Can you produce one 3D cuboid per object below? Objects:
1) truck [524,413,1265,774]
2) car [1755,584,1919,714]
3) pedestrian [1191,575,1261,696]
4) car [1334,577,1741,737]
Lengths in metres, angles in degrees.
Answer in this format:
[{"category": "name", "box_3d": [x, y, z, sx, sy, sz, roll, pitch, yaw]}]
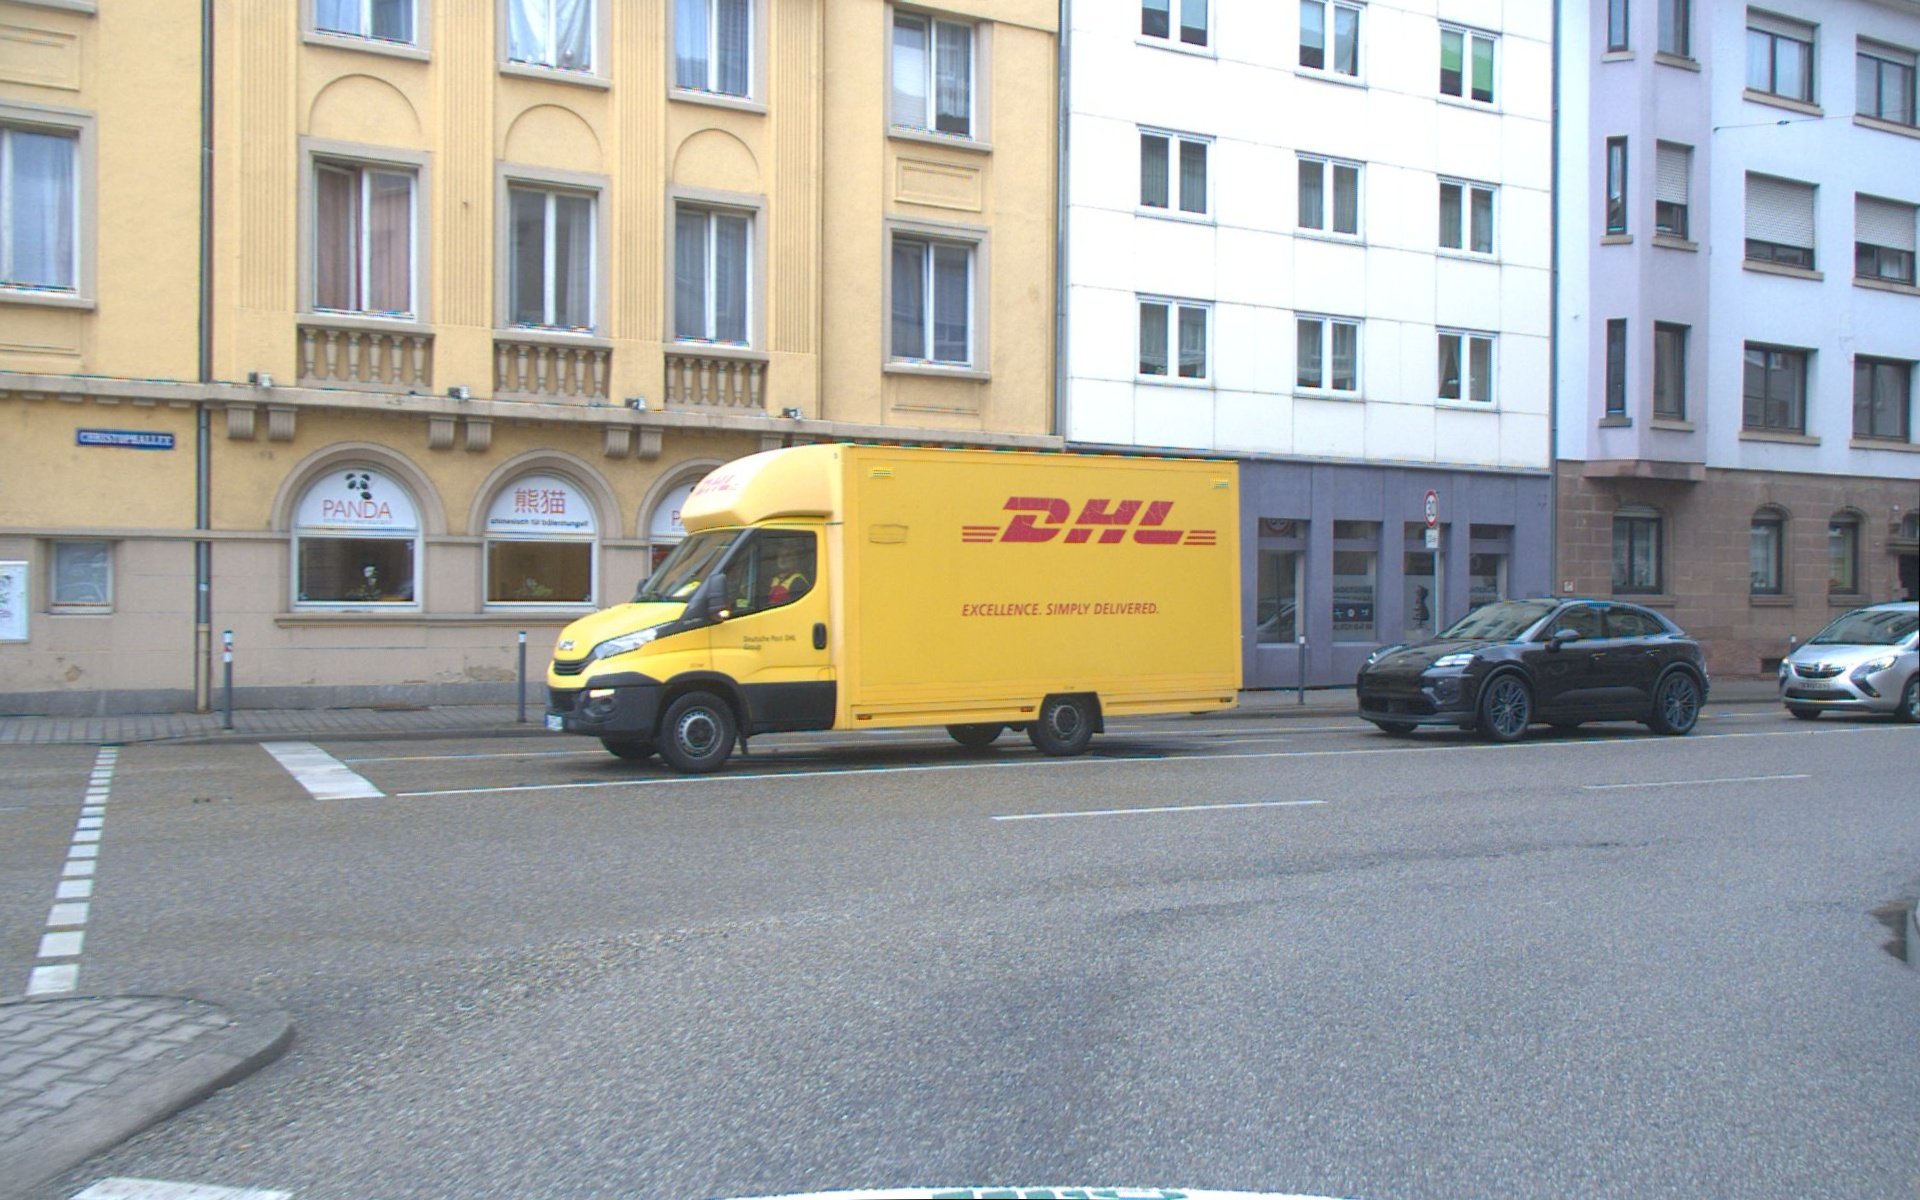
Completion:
[{"category": "truck", "box_3d": [-0.446, -0.030, 15.955, 7.013, 2.901, 2.062, 0, -1, -29]}, {"category": "car", "box_3d": [13.633, 0.652, 23.634, 4.347, 1.714, 1.932, 0, 0, -28]}, {"category": "pedestrian", "box_3d": [4.072, 0.536, 25.341, 0.781, 1.823, 0.756, 0, -1, -29]}, {"category": "car", "box_3d": [6.951, 0.623, 19.803, 4.758, 1.714, 1.981, 0, 0, -29]}]
